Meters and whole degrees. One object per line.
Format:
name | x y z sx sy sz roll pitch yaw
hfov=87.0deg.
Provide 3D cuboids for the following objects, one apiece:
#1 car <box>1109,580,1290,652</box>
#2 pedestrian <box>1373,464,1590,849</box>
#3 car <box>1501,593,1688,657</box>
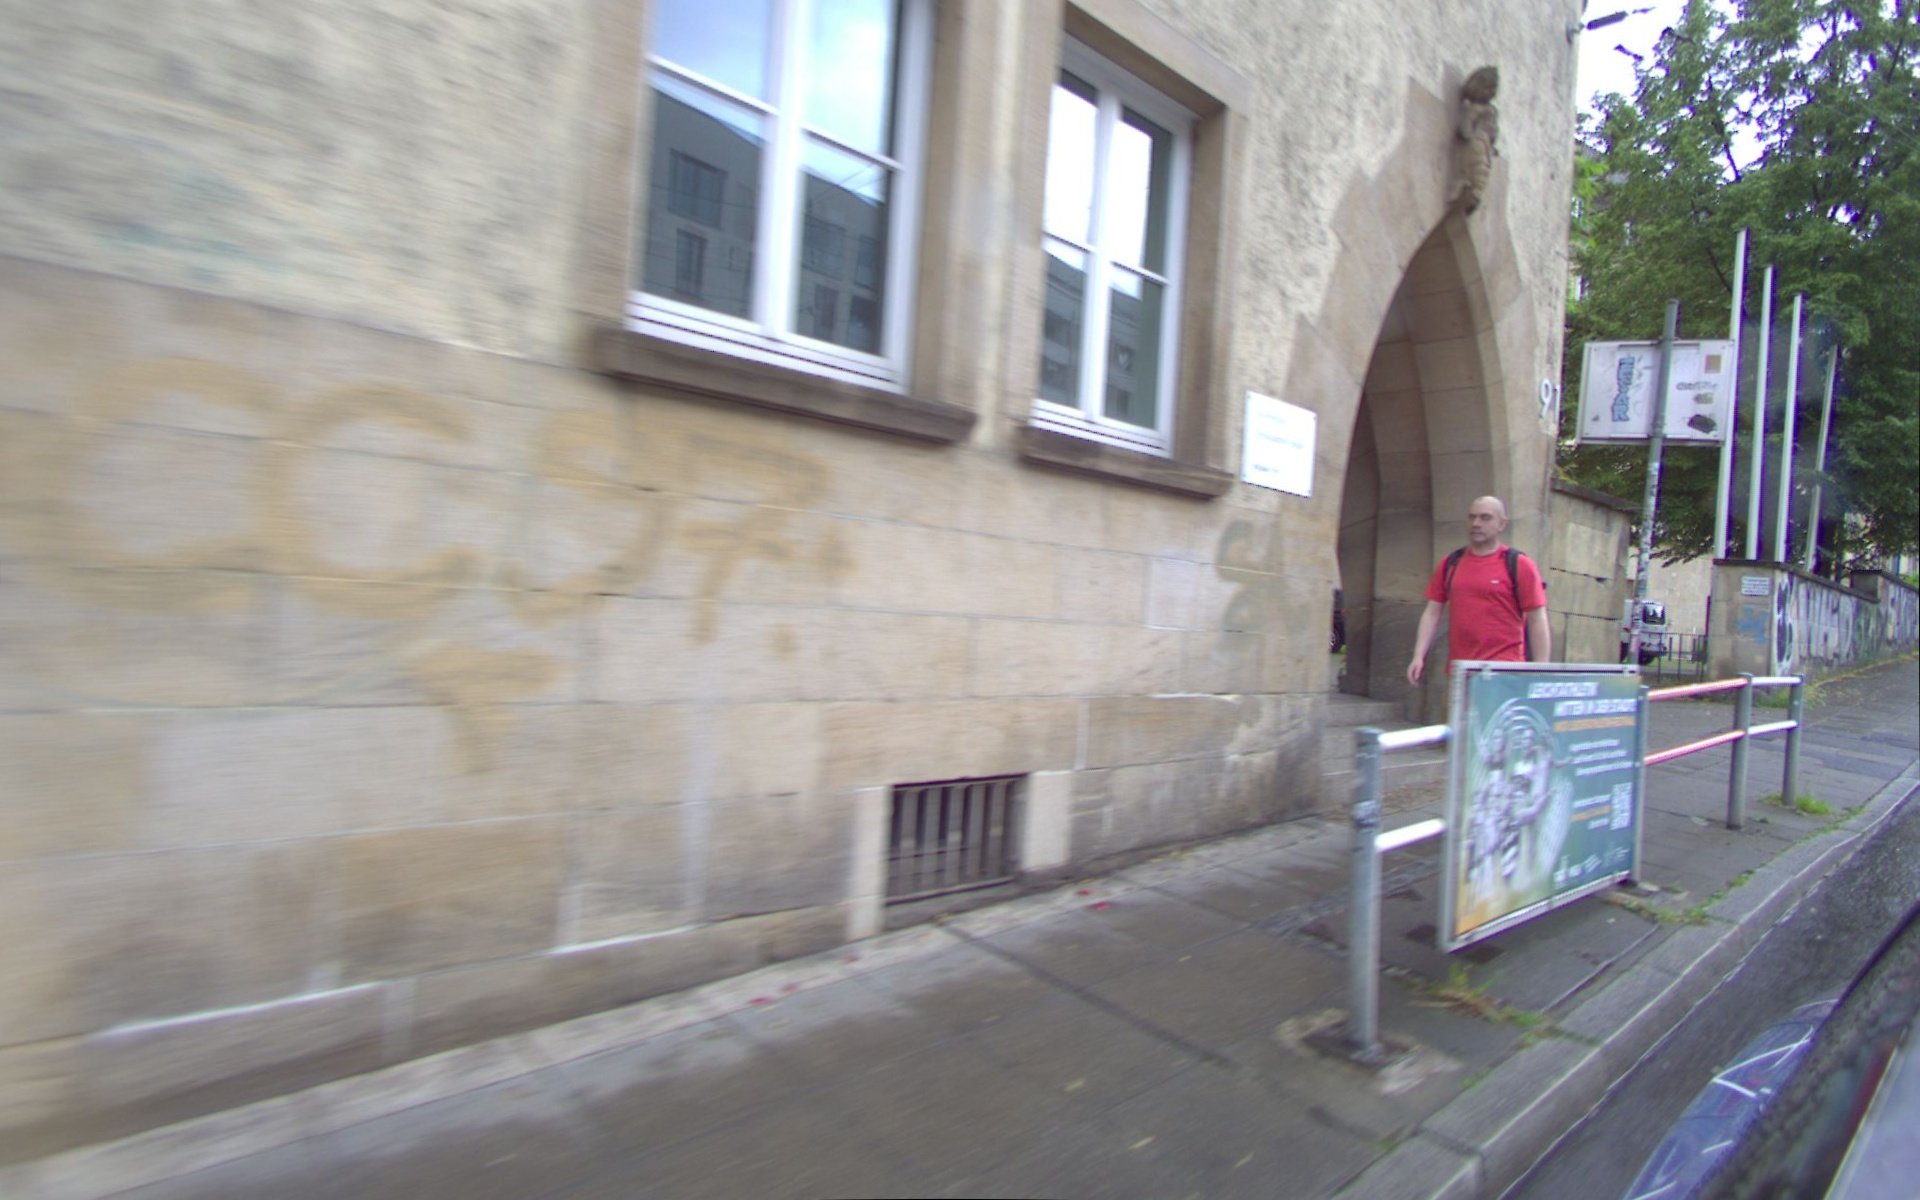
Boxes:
car | 5.288 0.331 22.791 1.582 1.488 3.916 -1 0 -35
pedestrian | 2.698 0.250 5.238 0.804 1.786 0.748 0 1 -41
car | 19.370 0.724 31.119 1.786 1.802 4.538 -1 0 -29
